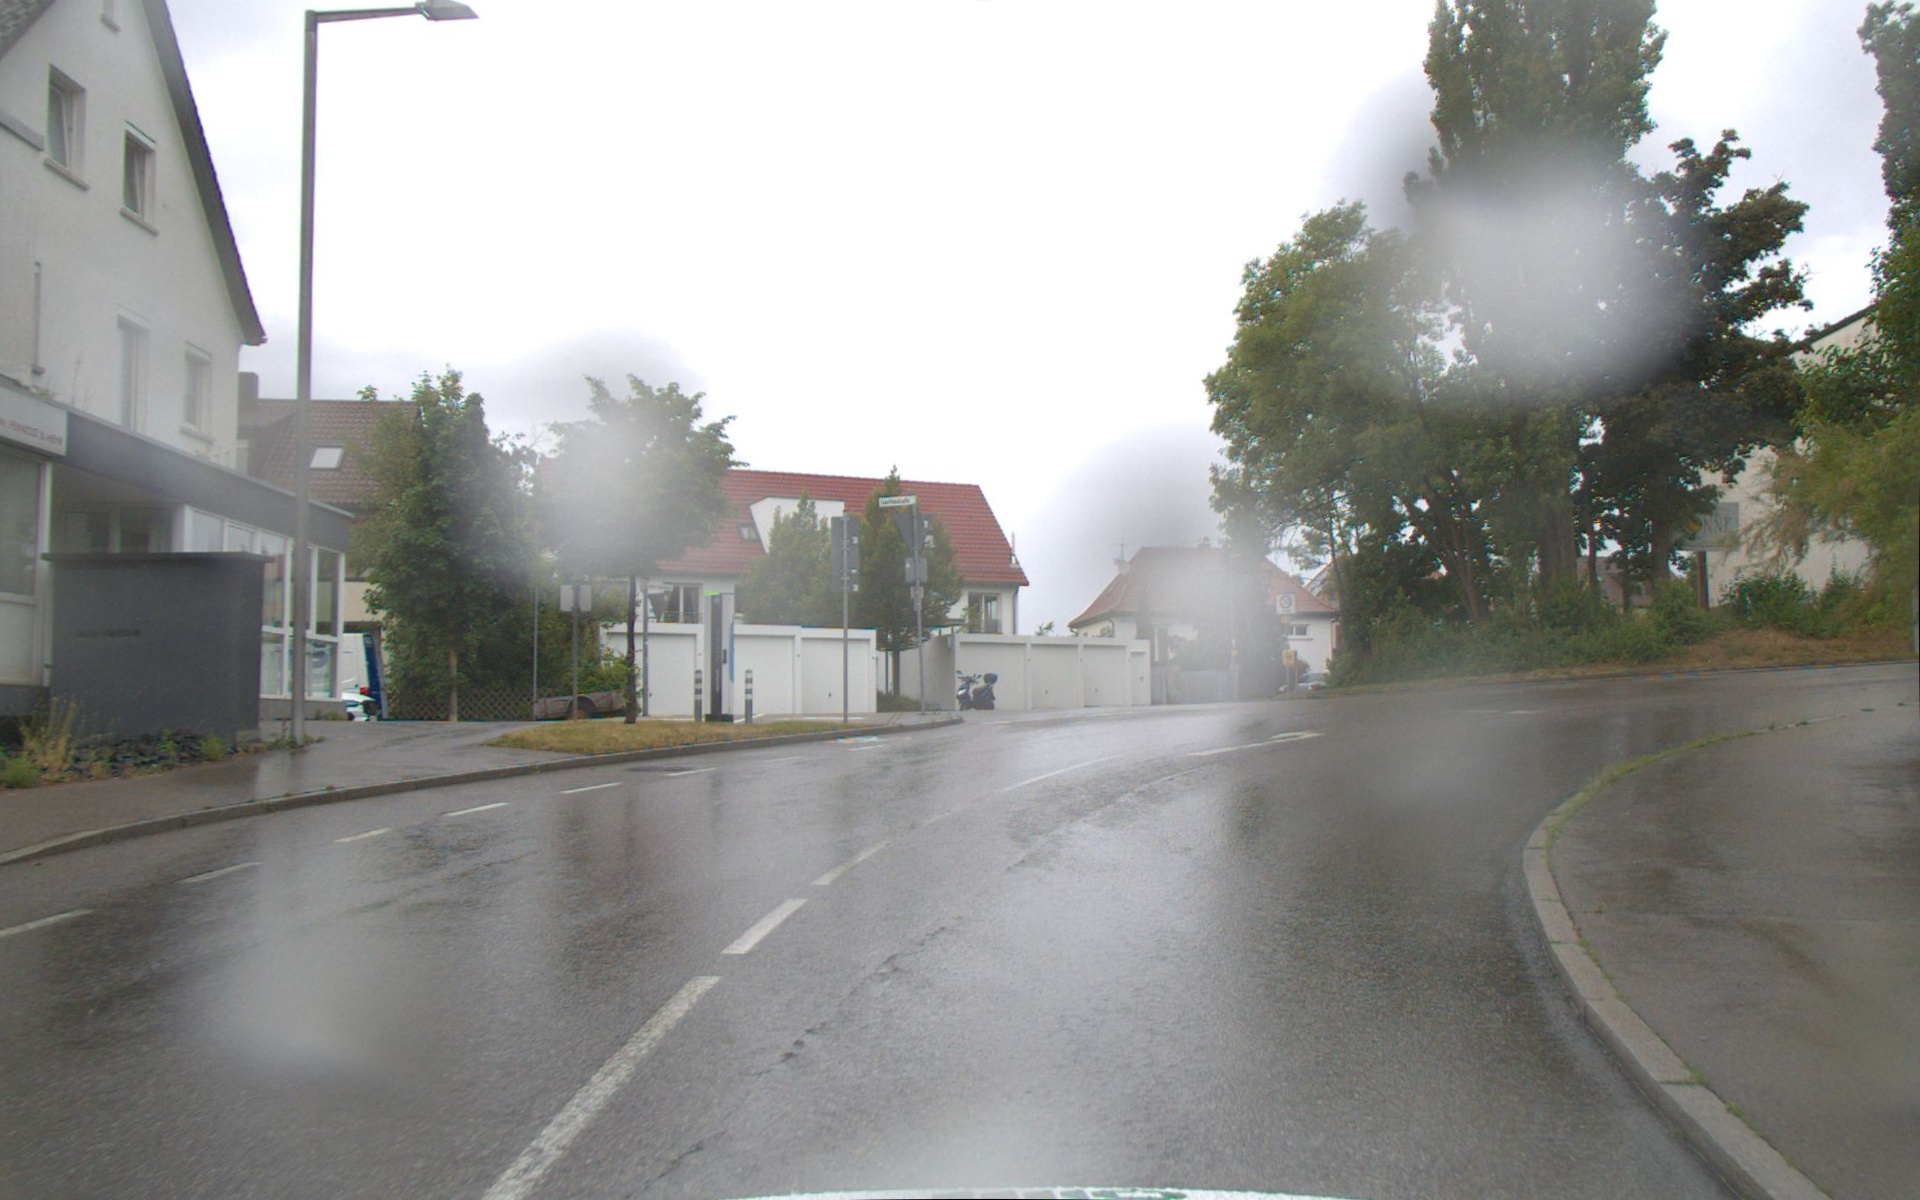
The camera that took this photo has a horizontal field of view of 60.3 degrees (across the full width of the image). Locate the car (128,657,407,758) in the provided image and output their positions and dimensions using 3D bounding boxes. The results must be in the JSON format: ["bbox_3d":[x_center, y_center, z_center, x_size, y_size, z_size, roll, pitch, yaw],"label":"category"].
[{"bbox_3d":[-13.801,2.135,33.197,4.683,1.736,2.066,-3,-3,-3],"label":"car"}]

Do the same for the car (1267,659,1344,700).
[{"bbox_3d":[14.452,3.311,69.043,1.956,1.534,3.992,-4,-3,30],"label":"car"}]

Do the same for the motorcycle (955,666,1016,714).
[{"bbox_3d":[0.792,2.755,50.716,0.696,1.345,2.034,-5,-3,41],"label":"motorcycle"}]

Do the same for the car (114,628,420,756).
[{"bbox_3d":[-15.974,2.114,38.448,6.115,2.567,2.187,-2,-3,-7],"label":"car"}]

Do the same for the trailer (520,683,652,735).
[{"bbox_3d":[-8.953,2.602,39.711,2.757,1.024,1.593,-3,-2,-1],"label":"trailer"}]
